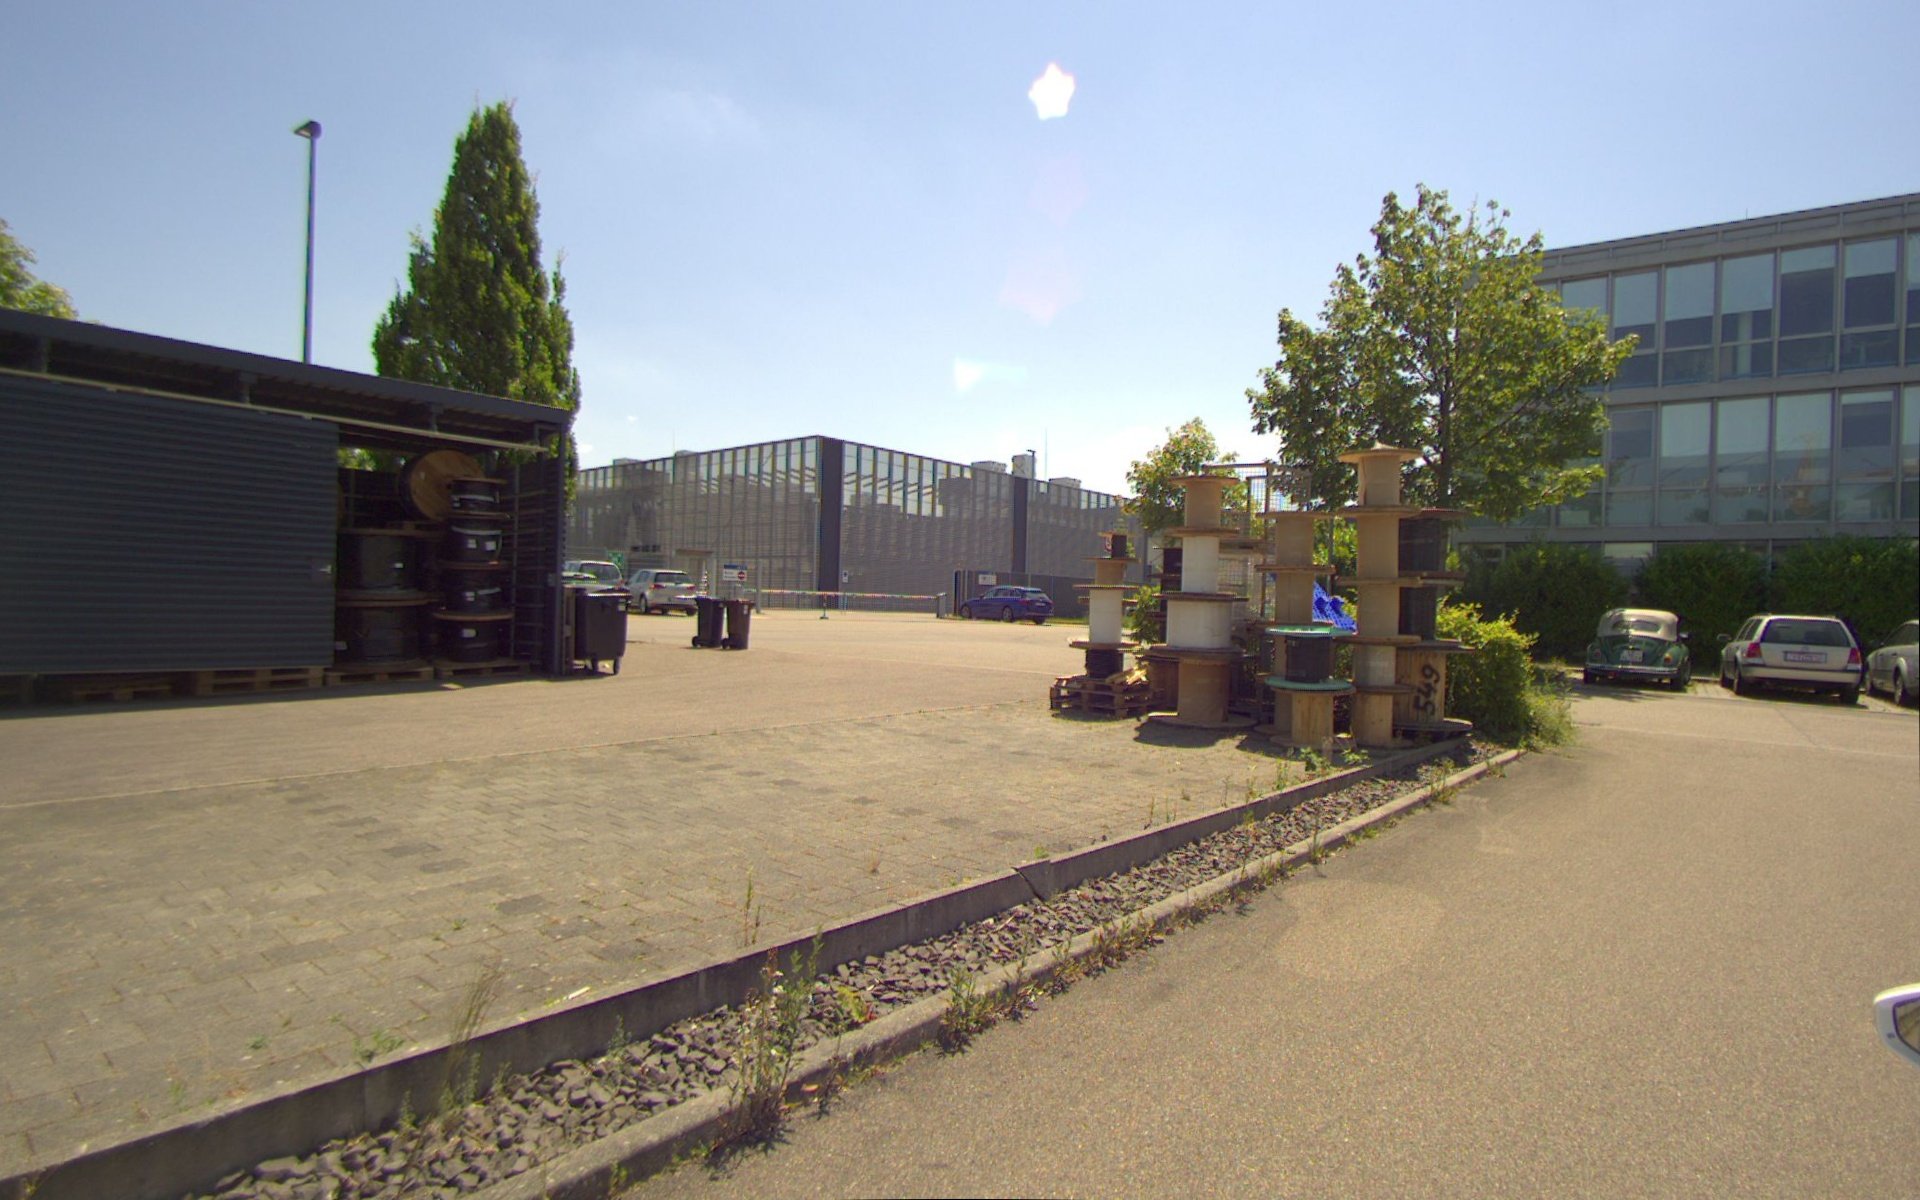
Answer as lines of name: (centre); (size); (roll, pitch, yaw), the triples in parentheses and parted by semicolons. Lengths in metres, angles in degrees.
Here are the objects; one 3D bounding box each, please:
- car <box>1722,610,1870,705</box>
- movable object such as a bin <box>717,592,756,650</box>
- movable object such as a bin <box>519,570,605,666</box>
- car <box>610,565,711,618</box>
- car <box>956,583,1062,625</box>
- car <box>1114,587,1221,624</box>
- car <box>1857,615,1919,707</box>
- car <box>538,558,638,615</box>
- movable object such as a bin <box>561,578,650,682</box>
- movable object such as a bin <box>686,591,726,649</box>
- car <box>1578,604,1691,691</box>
car: (15.287, 0.966, 18.548); (1.708, 1.468, 3.642); (3, 2, 35)
movable object such as a bin: (-4.152, 0.382, 18.660); (0.567, 1.050, 0.426); (2, 0, 7)
movable object such as a bin: (-5.864, 0.256, 14.796); (0.967, 1.347, 0.700); (1, 1, -44)
car: (-9.973, -0.313, 33.259); (1.981, 1.511, 3.960); (3, 0, -35)
car: (1.933, 0.120, 40.870); (1.980, 1.512, 4.469); (1, 2, -35)
car: (9.607, 0.228, 46.835); (1.980, 1.512, 4.806); (1, 2, -35)
car: (17.282, 1.058, 17.649); (1.741, 1.468, 3.642); (3, 2, 35)
car: (-11.890, -0.462, 31.958); (1.981, 1.611, 3.960); (3, 0, -35)
movable object such as a bin: (-4.886, 0.405, 13.826); (0.878, 1.362, 0.803); (1, 1, -44)
movable object such as a bin: (-4.731, 0.368, 18.742); (0.570, 1.041, 0.426); (2, 0, 7)
car: (13.382, 0.856, 19.837); (1.522, 1.468, 3.638); (3, 2, 38)
